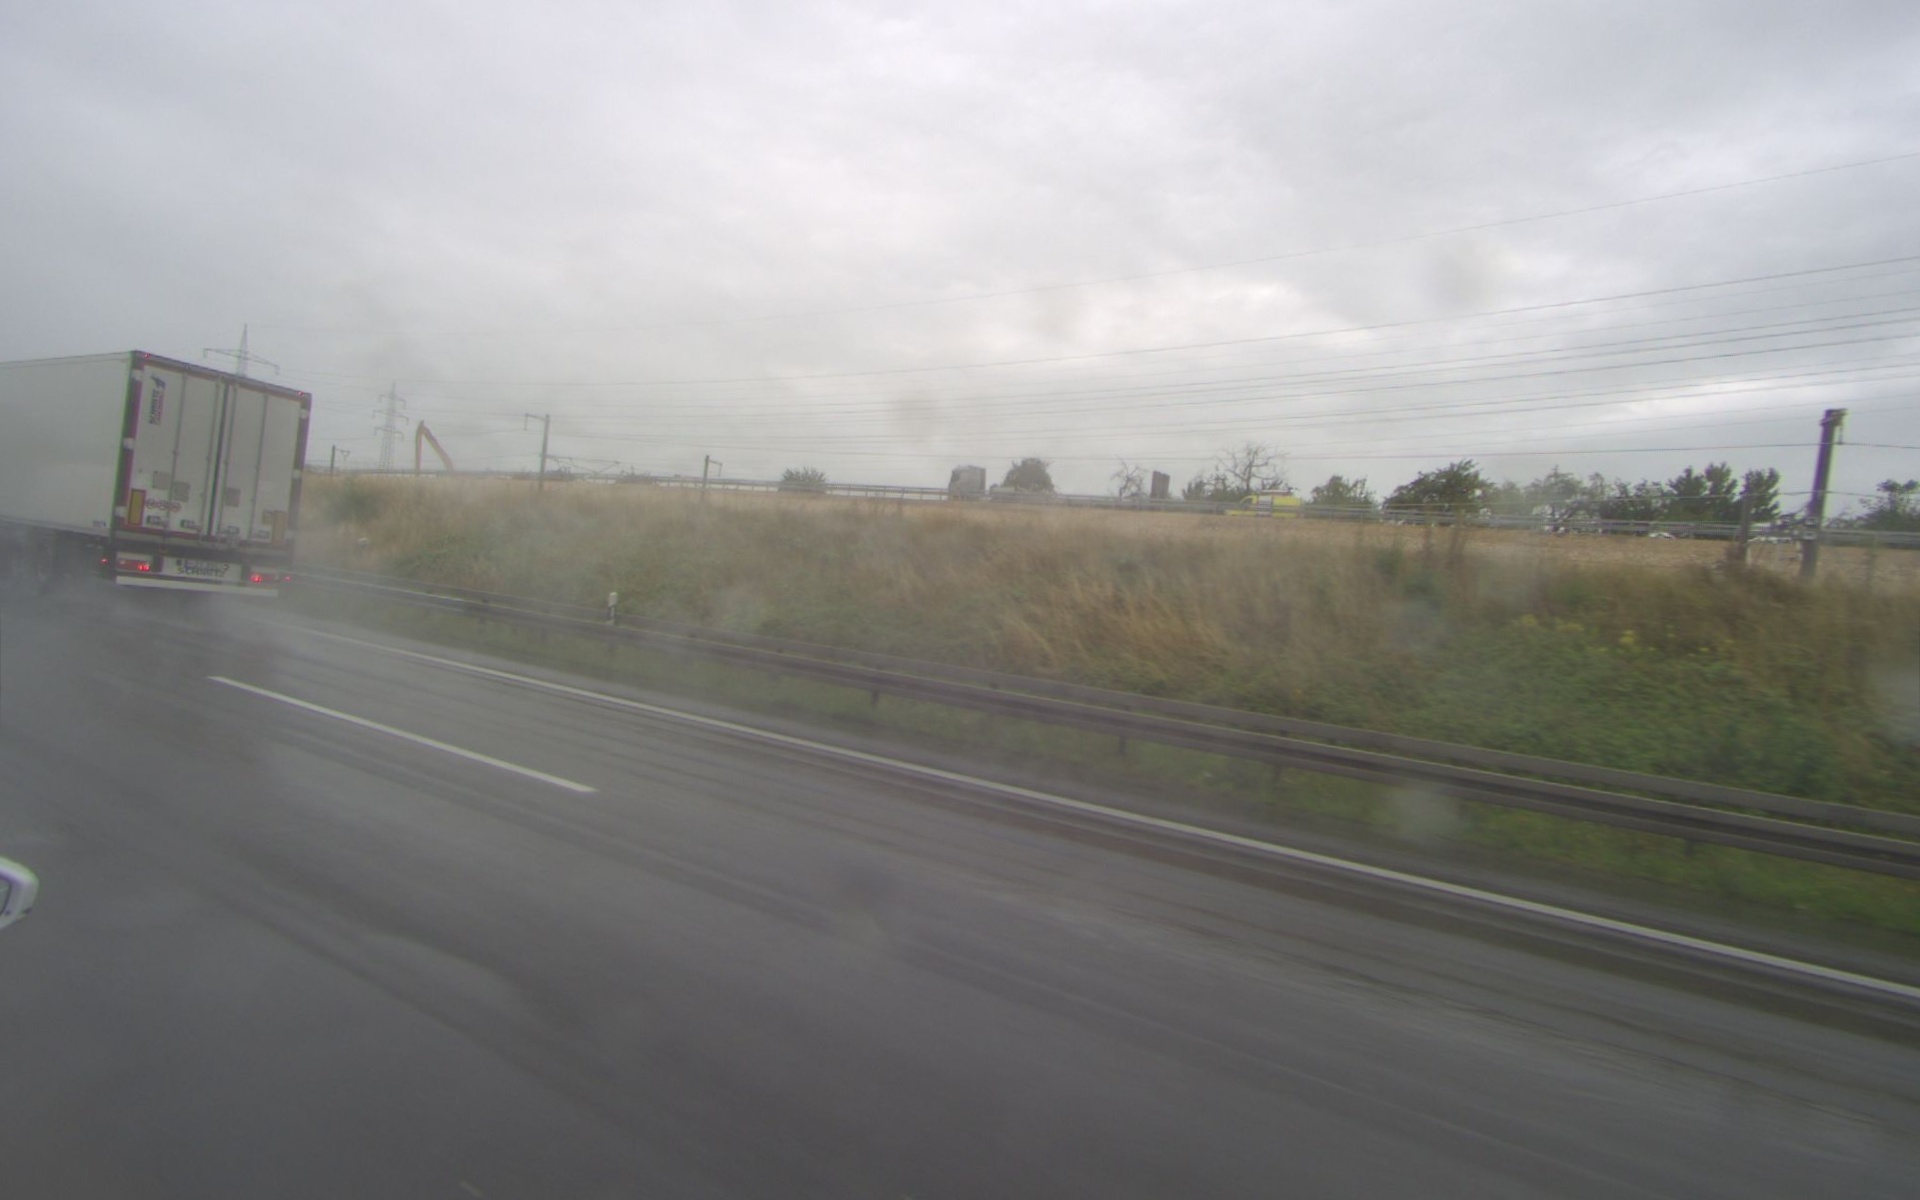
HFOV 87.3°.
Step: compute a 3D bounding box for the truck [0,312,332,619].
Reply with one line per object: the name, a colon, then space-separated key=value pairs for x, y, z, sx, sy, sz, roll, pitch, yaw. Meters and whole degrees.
truck: x=-19.441 y=-2.903 z=21.336 sx=16.077 sy=4.642 sz=3.045 roll=7 pitch=-1 yaw=31
